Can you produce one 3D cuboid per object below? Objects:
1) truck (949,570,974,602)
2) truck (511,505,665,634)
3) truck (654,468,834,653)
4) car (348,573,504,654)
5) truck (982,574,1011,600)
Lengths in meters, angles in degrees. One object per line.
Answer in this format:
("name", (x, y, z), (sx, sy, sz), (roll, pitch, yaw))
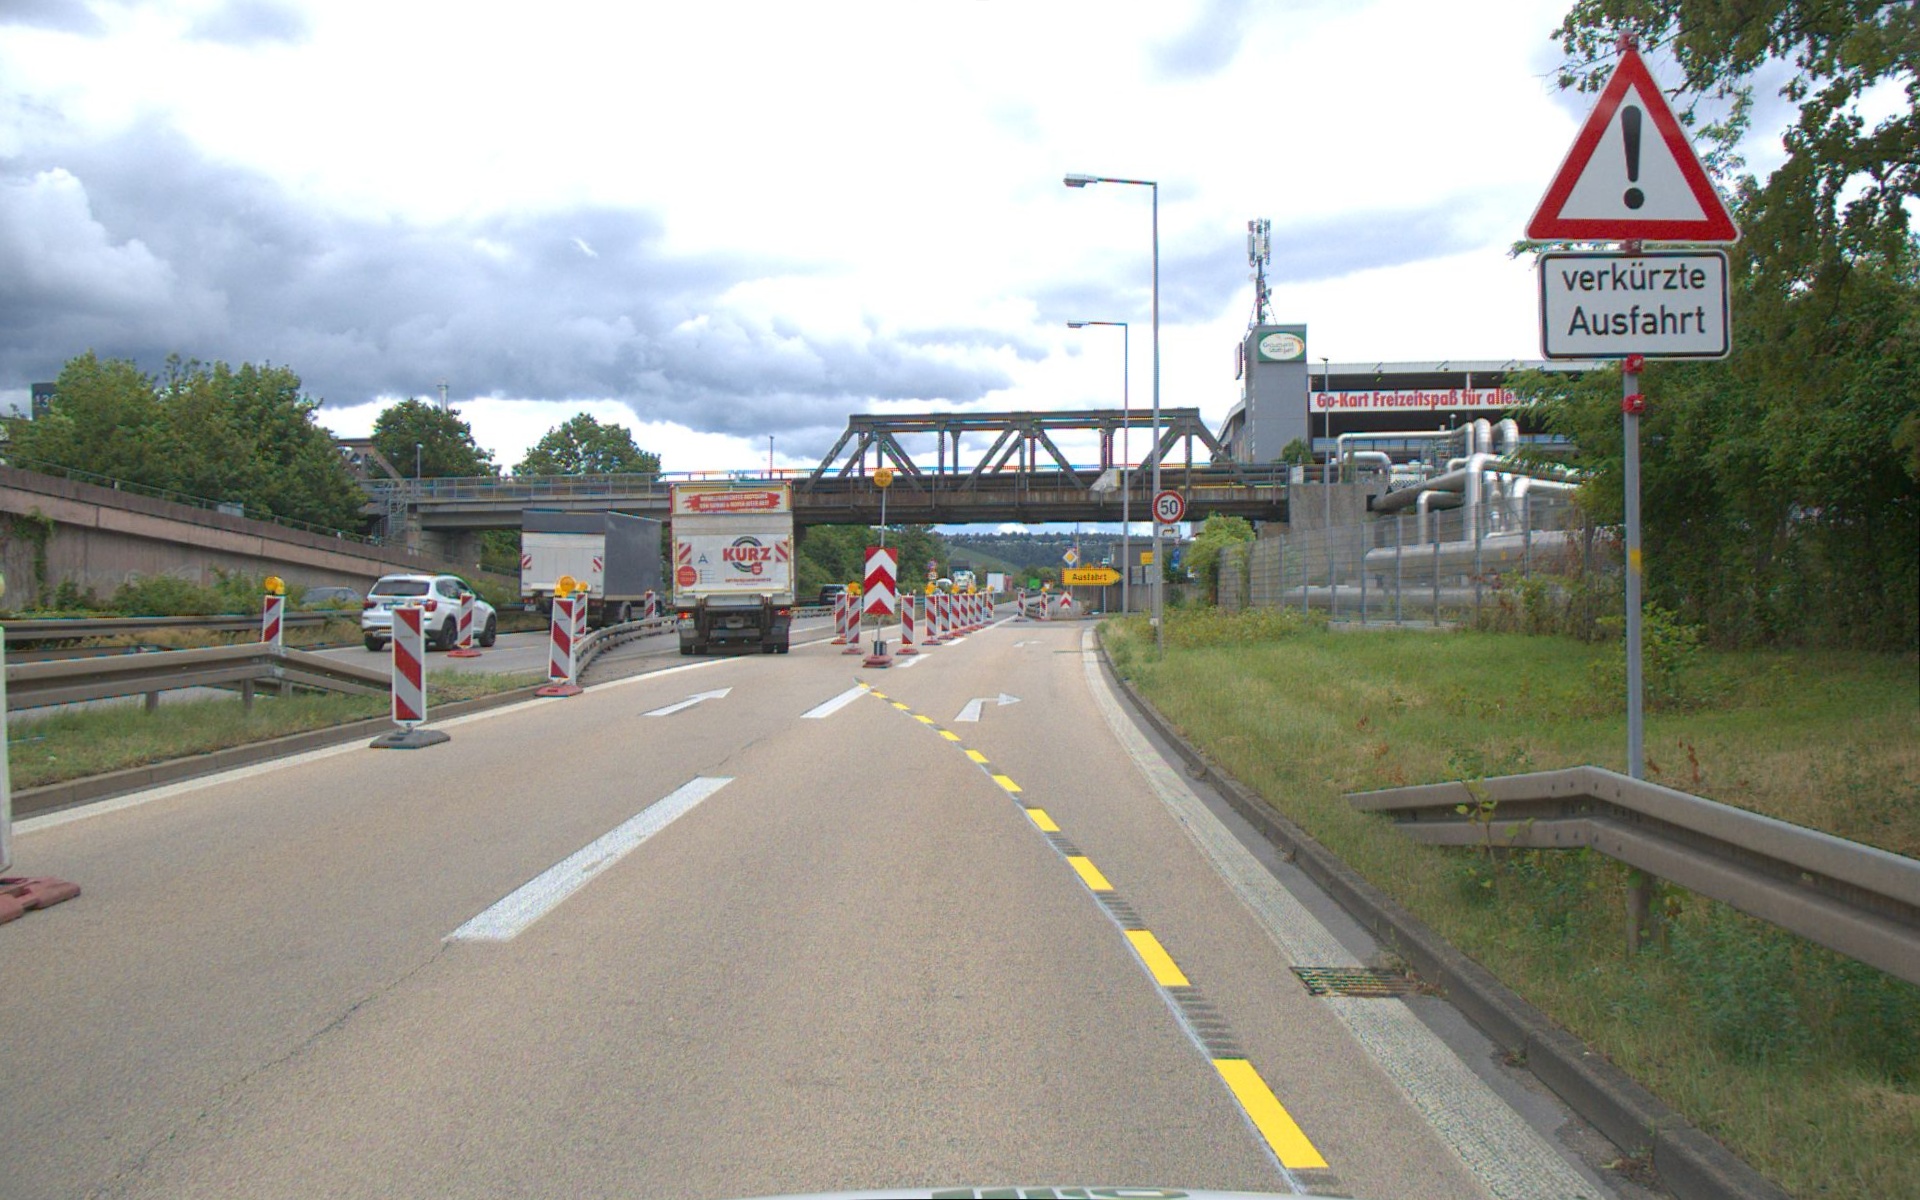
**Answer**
("truck", (0.201, -1.793, 211.404), (3.219, 3.920, 7.664), (0, -1, 0))
("truck", (-11.379, -0.840, 51.359), (2.988, 3.720, 7.396), (0, -1, 1))
("truck", (-4.674, -0.720, 37.412), (2.988, 3.737, 7.926), (0, -1, 0))
("car", (-12.110, 0.316, 37.772), (1.951, 1.743, 4.103), (0, -1, 5))
("truck", (5.099, -1.781, 231.594), (3.828, 3.611, 8.138), (0, -1, -1))
